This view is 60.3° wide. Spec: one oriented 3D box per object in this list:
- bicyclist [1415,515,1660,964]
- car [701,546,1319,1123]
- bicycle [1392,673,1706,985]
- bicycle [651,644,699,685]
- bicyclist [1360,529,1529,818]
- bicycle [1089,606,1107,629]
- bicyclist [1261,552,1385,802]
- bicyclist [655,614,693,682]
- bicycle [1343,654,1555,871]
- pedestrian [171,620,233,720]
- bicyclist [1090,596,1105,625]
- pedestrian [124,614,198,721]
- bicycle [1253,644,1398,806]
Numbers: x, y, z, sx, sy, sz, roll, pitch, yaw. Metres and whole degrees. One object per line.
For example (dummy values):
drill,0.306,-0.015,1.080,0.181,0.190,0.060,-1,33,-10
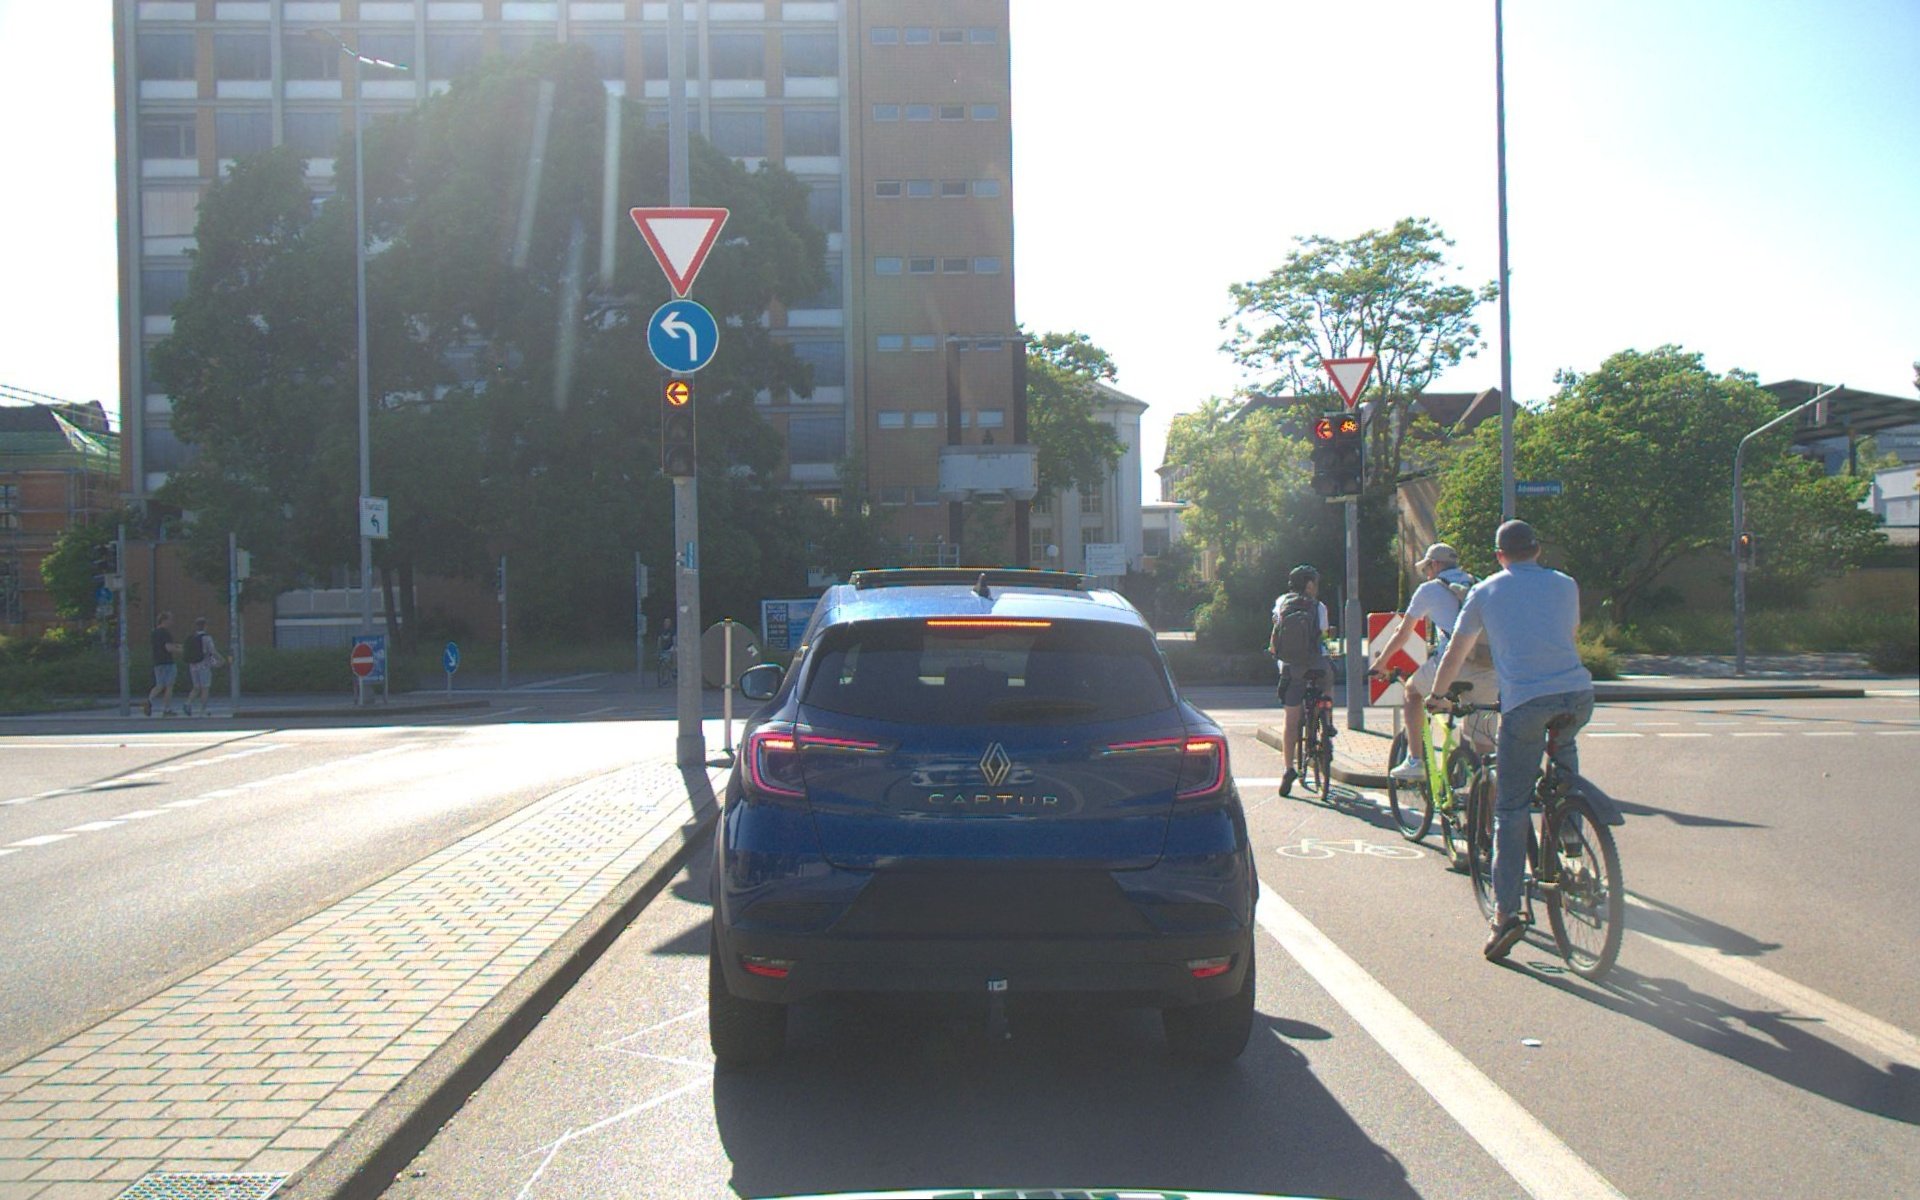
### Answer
bicyclist,2.506,0.567,7.296,0.669,1.822,1.142,0,0,-1
car,0.062,0.661,6.636,1.753,1.613,3.912,0,0,-3
bicycle,2.506,0.918,7.288,0.675,1.108,1.922,0,0,-1
bicycle,-7.524,1.697,43.761,0.739,1.002,2.095,-1,0,5
bicyclist,2.859,0.411,9.859,0.664,1.622,1.142,0,0,-1
bicycle,7.175,0.905,86.148,0.680,1.160,2.440,-1,0,-1
bicyclist,2.755,0.559,12.639,0.685,1.822,1.142,0,0,-1
bicyclist,-7.542,1.254,43.658,0.739,1.746,0.999,-1,0,5
bicycle,2.860,0.909,9.882,0.675,1.108,1.922,0,0,-1
pedestrian,-13.655,1.257,29.801,0.666,1.761,0.761,-1,0,13
bicyclist,7.171,0.531,86.100,0.680,1.507,0.717,-1,0,-1
pedestrian,-14.505,1.211,30.040,0.796,1.895,0.910,-1,0,13
bicycle,2.787,0.923,12.815,0.675,1.108,1.922,0,0,-1
